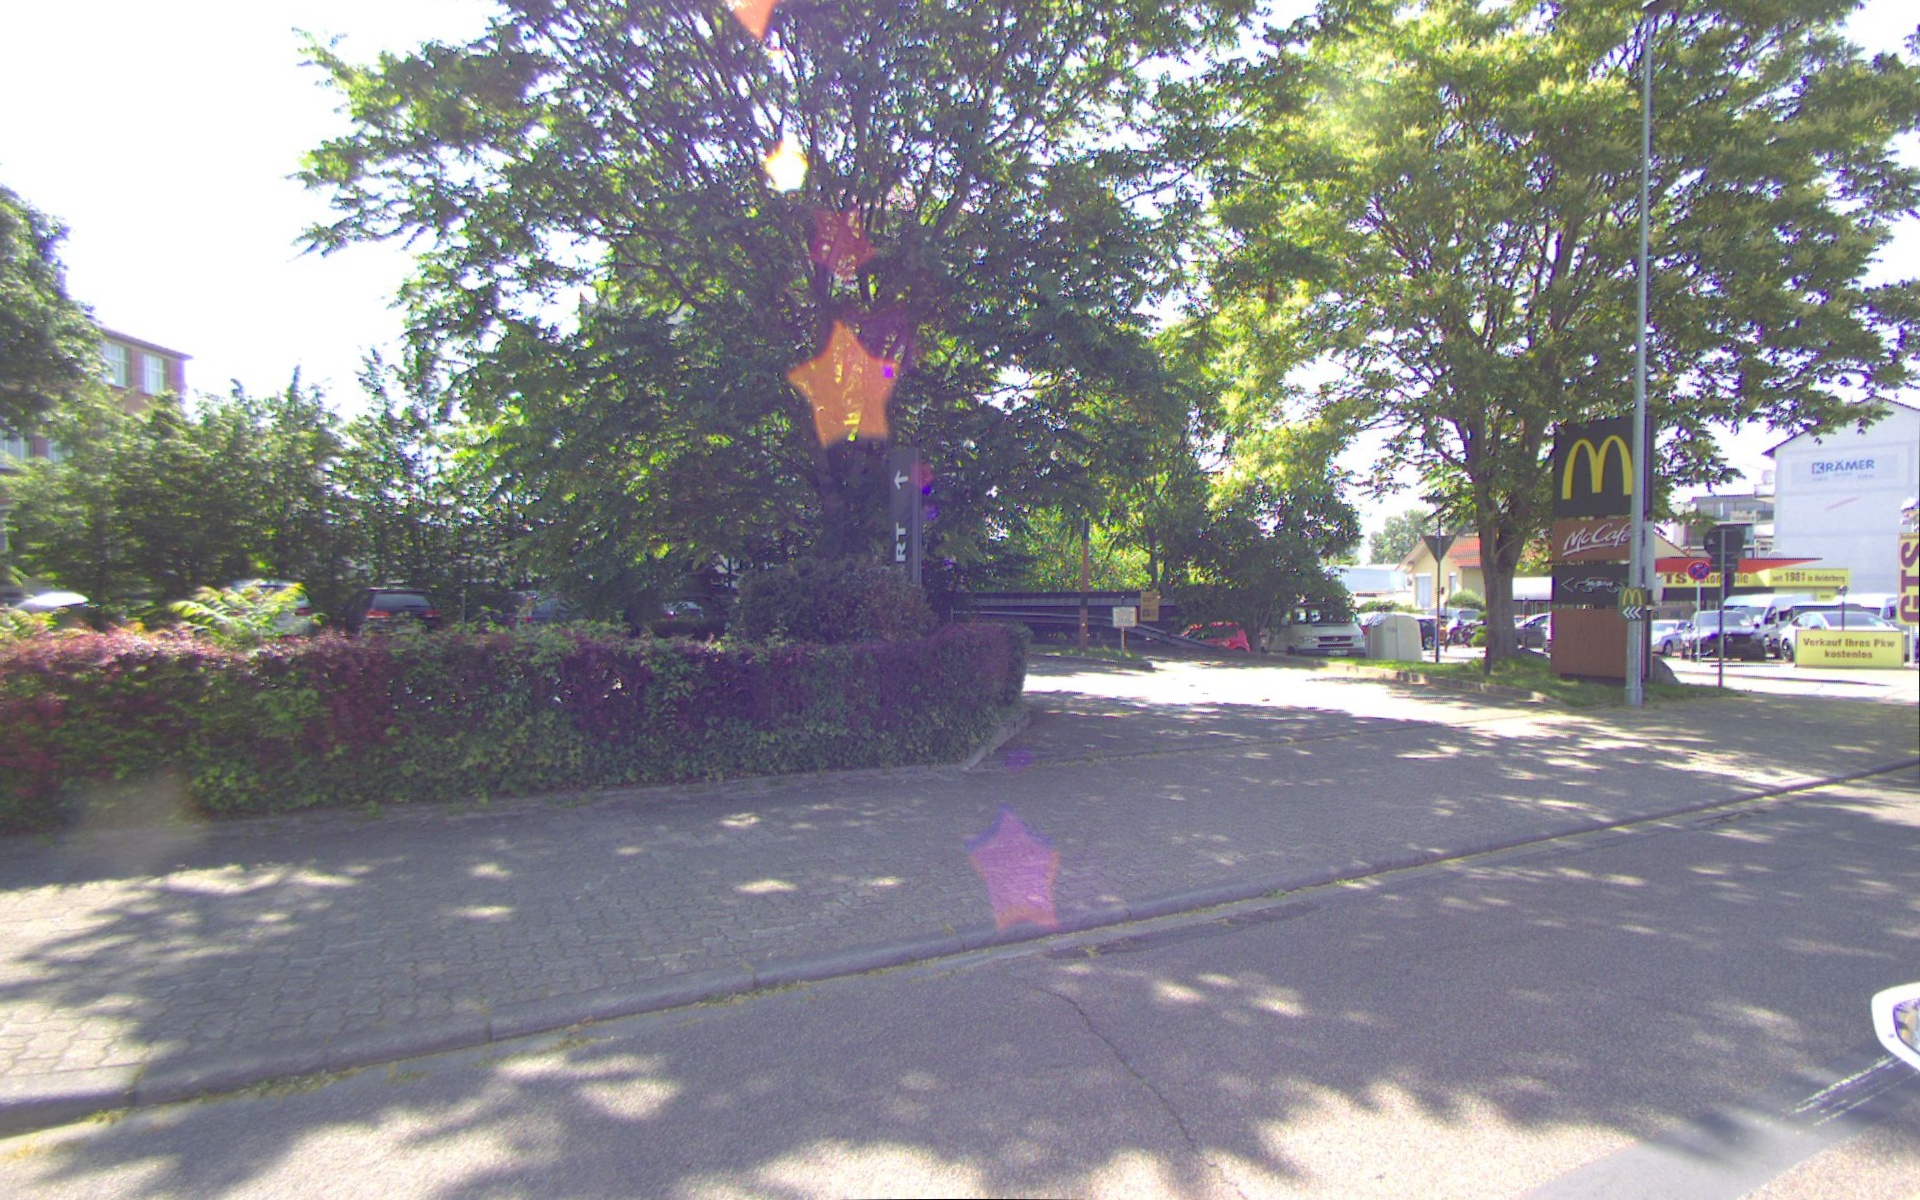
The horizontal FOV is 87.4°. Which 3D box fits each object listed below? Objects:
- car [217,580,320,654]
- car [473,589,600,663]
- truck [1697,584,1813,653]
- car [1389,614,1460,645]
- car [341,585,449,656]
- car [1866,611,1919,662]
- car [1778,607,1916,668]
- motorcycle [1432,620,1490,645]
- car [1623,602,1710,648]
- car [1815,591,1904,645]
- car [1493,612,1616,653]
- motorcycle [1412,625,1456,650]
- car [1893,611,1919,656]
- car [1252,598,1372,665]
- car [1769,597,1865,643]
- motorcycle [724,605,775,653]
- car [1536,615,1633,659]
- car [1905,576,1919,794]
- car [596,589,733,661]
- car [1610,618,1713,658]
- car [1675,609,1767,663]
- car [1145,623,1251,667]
[{"bbox_3d":[-16.823,0.345,24.351,1.759,1.593,3.954,0,2,-39],"label":"car"},{"bbox_3d":[-9.955,0.528,23.468,1.690,1.473,3.953,-1,2,-40],"label":"car"},{"bbox_3d":[36.005,0.828,45.439,5.879,2.943,2.256,1,1,-33],"label":"truck"},{"bbox_3d":[26.142,1.627,56.673,1.962,1.606,3.997,2,0,-4],"label":"car"},{"bbox_3d":[-13.868,0.420,24.571,1.758,1.490,3.956,-1,3,-38],"label":"car"},{"bbox_3d":[32.709,1.229,34.738,1.834,1.651,3.981,1,0,40],"label":"car"},{"bbox_3d":[28.366,1.146,32.287,1.961,1.748,4.000,2,0,20],"label":"car"},{"bbox_3d":[26.309,1.701,52.752,2.673,1.243,0.996,2,0,-14],"label":"motorcycle"},{"bbox_3d":[33.667,1.192,47.829,4.451,2.040,1.980,2,0,-35],"label":"car"},{"bbox_3d":[40.397,0.788,45.078,4.667,2.315,2.120,1,0,-37],"label":"car"},{"bbox_3d":[26.070,1.418,44.211,4.248,1.606,2.000,2,0,17],"label":"car"},{"bbox_3d":[23.747,1.873,50.347,1.837,1.174,0.790,2,0,6],"label":"motorcycle"},{"bbox_3d":[36.912,1.257,38.222,1.834,1.651,3.981,1,0,40],"label":"car"},{"bbox_3d":[9.650,0.784,27.953,1.918,1.604,5.033,2,1,5],"label":"car"},{"bbox_3d":[35.523,0.810,41.605,4.674,1.761,1.865,1,1,-35],"label":"car"},{"bbox_3d":[-5.305,0.723,25.297,1.583,1.156,0.472,1,1,44],"label":"motorcycle"},{"bbox_3d":[23.566,1.377,37.867,3.962,1.530,1.775,2,0,-37],"label":"car"},{"bbox_3d":[11.527,0.755,10.001,5.393,1.994,2.161,0,-2,-37],"label":"car"},{"bbox_3d":[-7.142,0.525,24.070,1.649,1.490,3.855,-1,3,-42],"label":"car"},{"bbox_3d":[28.550,1.544,40.865,3.949,1.507,1.781,2,0,-27],"label":"car"},{"bbox_3d":[25.436,1.170,33.724,2.017,1.616,4.413,2,0,32],"label":"car"},{"bbox_3d":[8.345,1.563,35.406,3.350,1.397,1.485,0,2,-5],"label":"car"}]
